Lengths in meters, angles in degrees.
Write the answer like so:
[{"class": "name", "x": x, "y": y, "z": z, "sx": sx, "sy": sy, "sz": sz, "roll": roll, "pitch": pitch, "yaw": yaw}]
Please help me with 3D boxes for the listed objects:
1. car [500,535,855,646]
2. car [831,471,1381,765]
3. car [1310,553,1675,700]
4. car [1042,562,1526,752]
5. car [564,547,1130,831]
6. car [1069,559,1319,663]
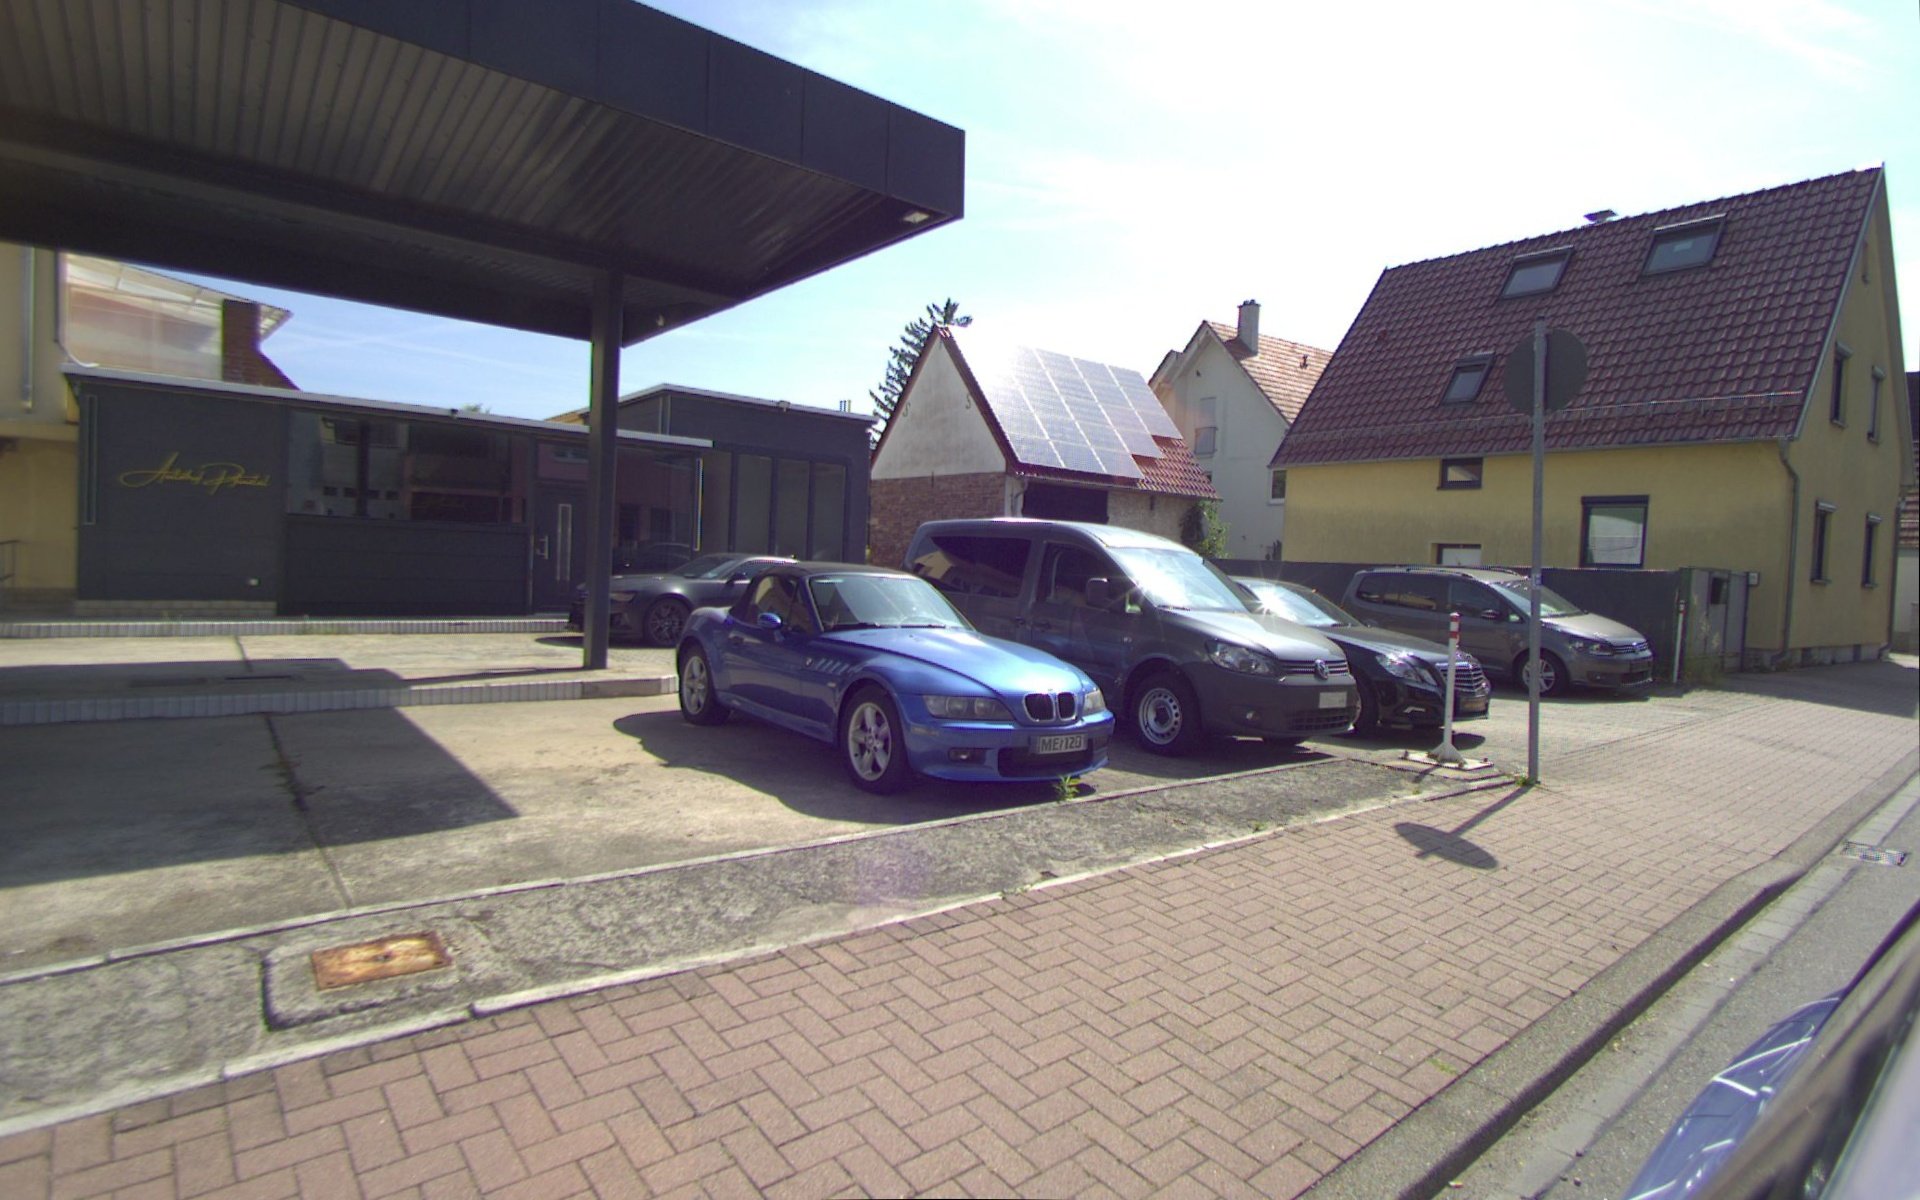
[{"class": "car", "x": -3.923, "y": -0.166, "z": 14.650, "sx": 4.668, "sy": 1.363, "sz": 1.761, "roll": 0, "pitch": 3, "yaw": -43}, {"class": "car", "x": 0.914, "y": 0.078, "z": 8.764, "sx": 1.928, "sy": 1.832, "sz": 4.650, "roll": 4, "pitch": 0, "yaw": -36}, {"class": "car", "x": 7.390, "y": 0.233, "z": 14.514, "sx": 1.703, "sy": 1.767, "sz": 4.345, "roll": -1, "pitch": 2, "yaw": -33}, {"class": "car", "x": 3.115, "y": 0.397, "z": 10.719, "sx": 1.875, "sy": 1.516, "sz": 4.650, "roll": 0, "pitch": 2, "yaw": -36}, {"class": "car", "x": -1.148, "y": 0.323, "z": 7.119, "sx": 1.929, "sy": 1.283, "sz": 4.553, "roll": 0, "pitch": 3, "yaw": -36}, {"class": "car", "x": 4.181, "y": 0.092, "z": 18.895, "sx": 1.947, "sy": 1.526, "sz": 4.564, "roll": 0, "pitch": 4, "yaw": -29}]
